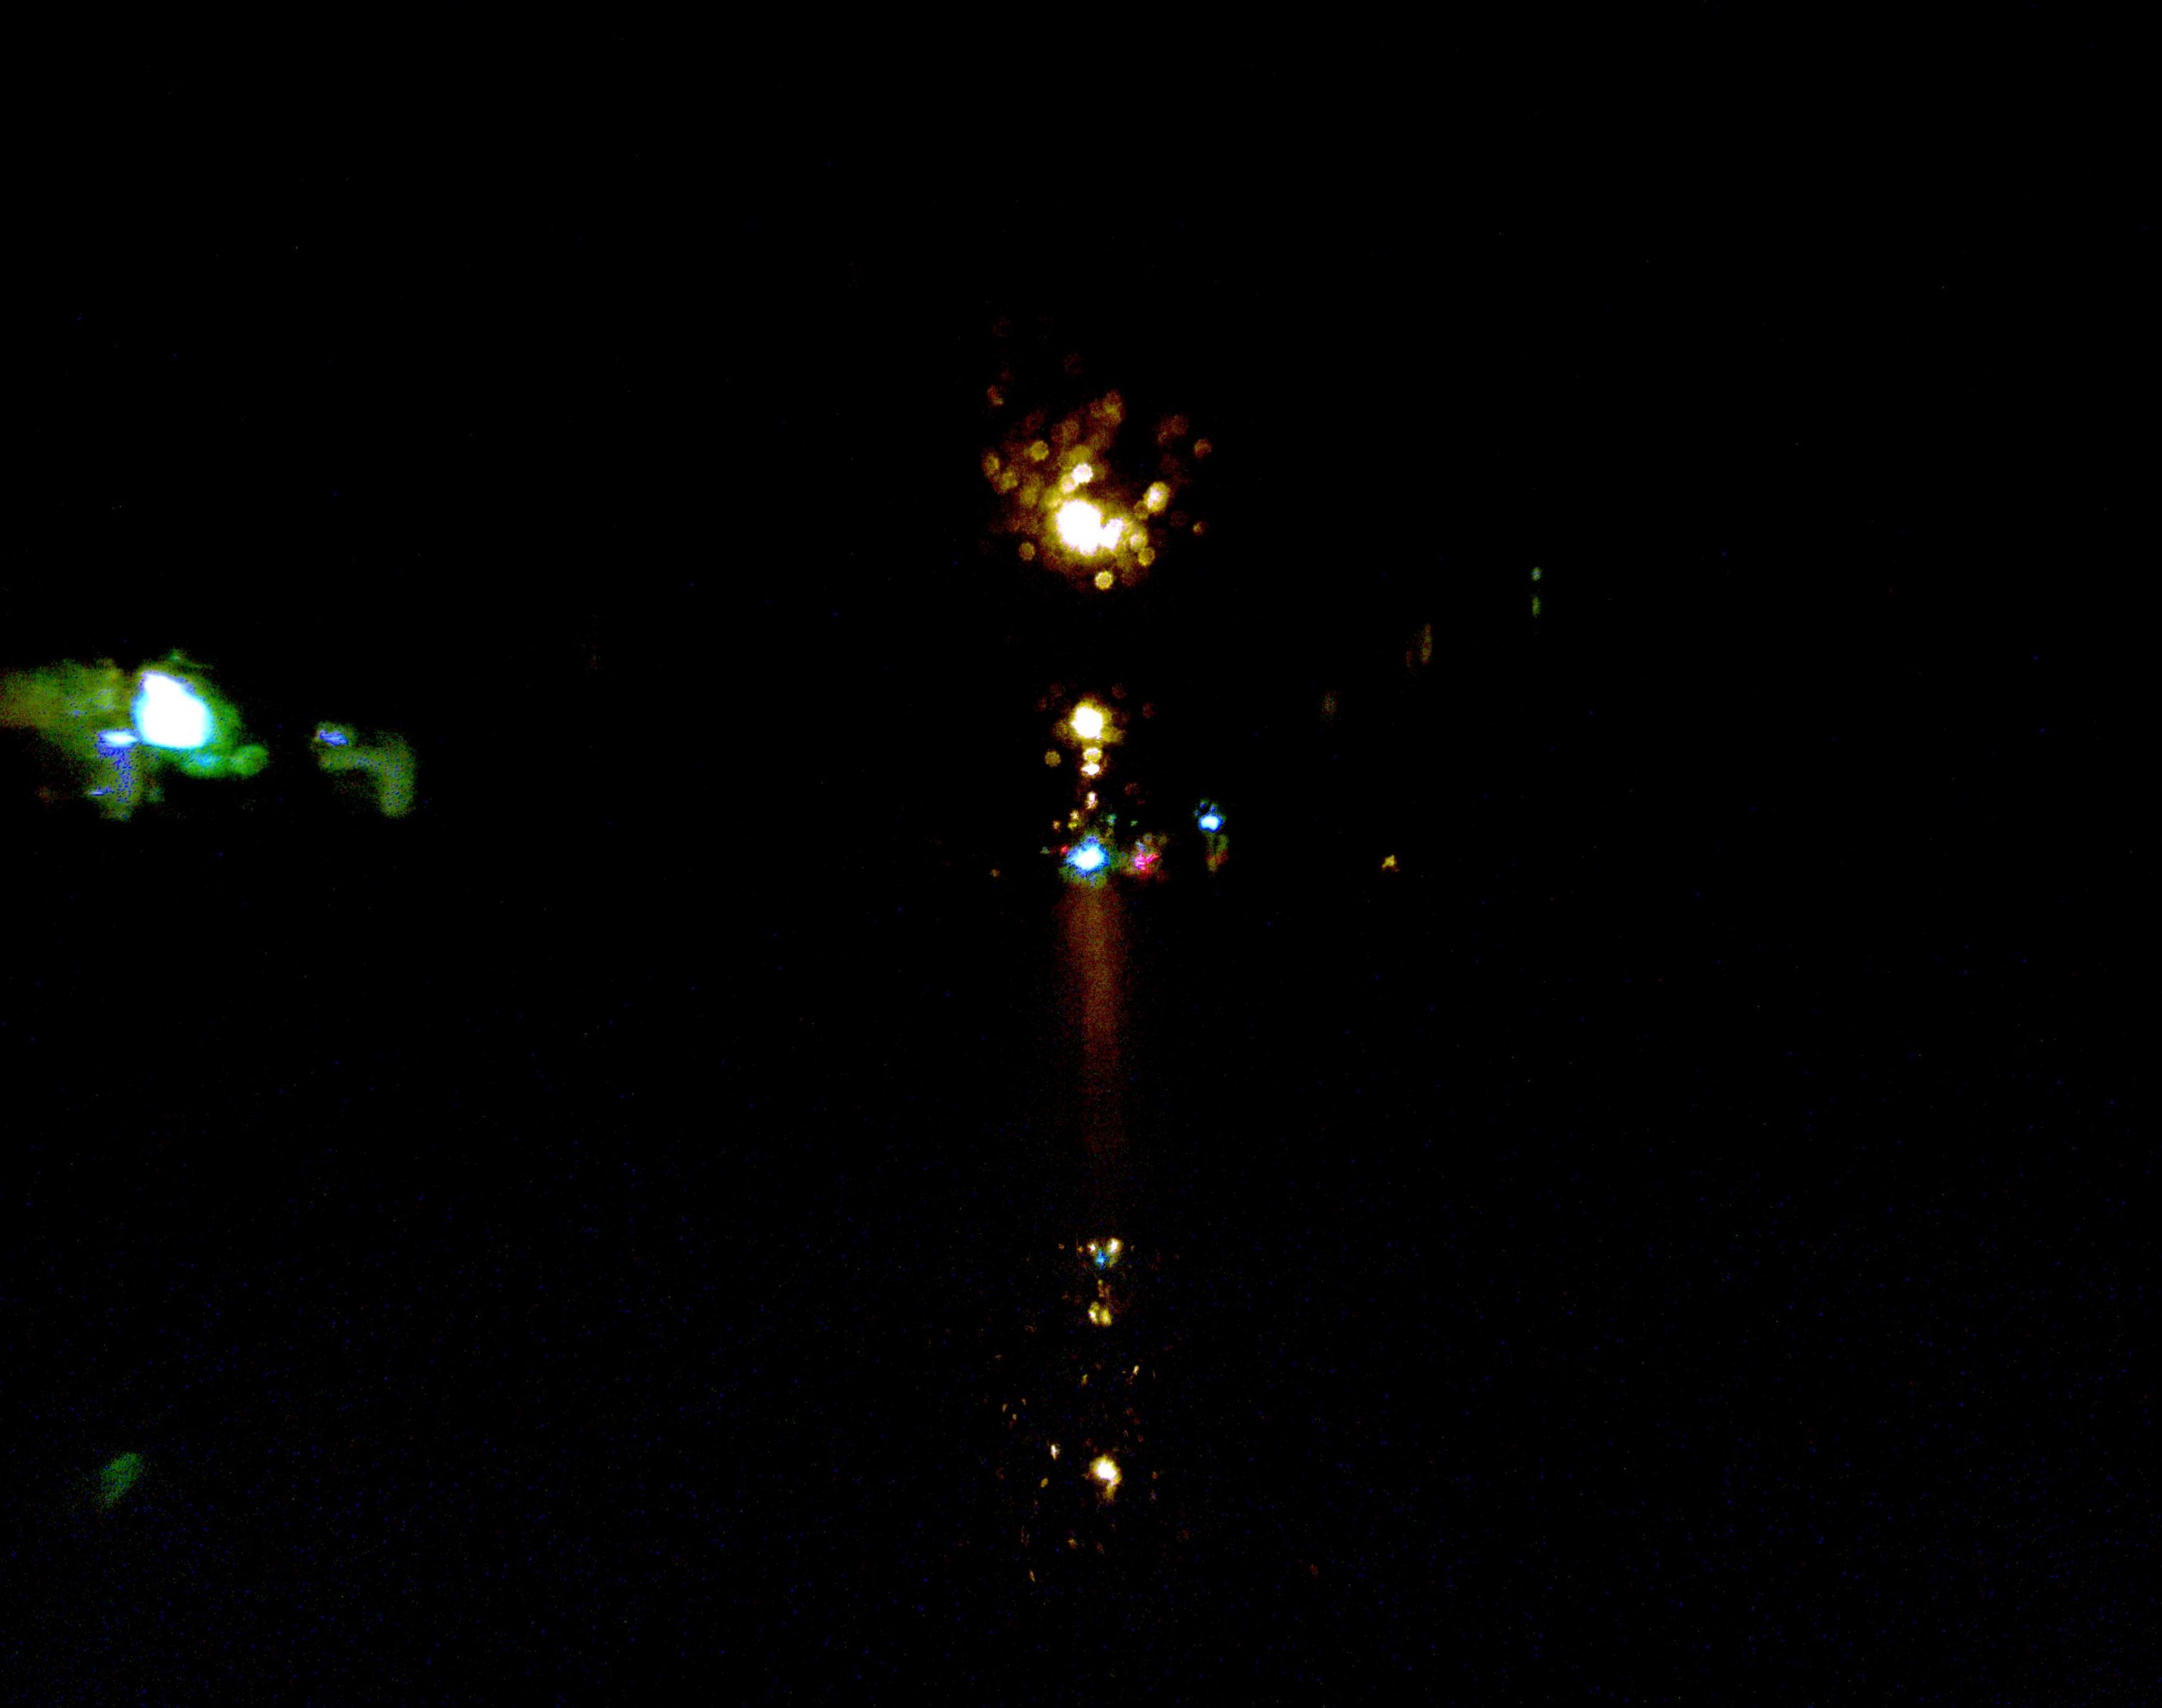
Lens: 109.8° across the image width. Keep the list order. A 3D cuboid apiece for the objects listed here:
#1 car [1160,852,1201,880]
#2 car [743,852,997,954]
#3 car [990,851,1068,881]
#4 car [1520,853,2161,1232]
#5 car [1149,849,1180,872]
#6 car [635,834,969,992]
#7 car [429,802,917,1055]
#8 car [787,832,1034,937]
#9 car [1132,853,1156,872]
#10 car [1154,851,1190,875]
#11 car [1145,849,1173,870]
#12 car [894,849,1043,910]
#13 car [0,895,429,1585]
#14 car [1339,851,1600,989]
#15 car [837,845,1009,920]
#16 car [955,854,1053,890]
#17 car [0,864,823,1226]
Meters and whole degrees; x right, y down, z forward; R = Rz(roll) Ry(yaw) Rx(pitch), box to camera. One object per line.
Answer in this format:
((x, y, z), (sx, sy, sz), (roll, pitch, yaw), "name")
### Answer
((5.664, 0.676, 43.527), (1.851, 1.470, 3.735), (-2, 0, 1), "car")
((-3.666, 0.796, 13.398), (3.941, 1.541, 1.739), (2, 0, -33), "car")
((-2.890, 0.645, 42.296), (3.939, 1.553, 1.707), (2, 0, -22), "car")
((5.047, 0.742, 5.072), (1.721, 1.470, 4.159), (-1, 0, -2), "car")
((5.999, 0.446, 55.153), (1.851, 1.571, 3.735), (-2, 0, 1), "car")
((-3.720, 0.697, 10.400), (3.942, 1.782, 1.738), (2, 0, -36), "car")
((-3.876, 0.602, 7.669), (3.942, 1.931, 1.738), (1, 0, -36), "car")
((-3.580, 0.611, 16.101), (4.719, 1.968, 1.975), (2, 0, -28), "car")
((5.647, 0.736, 67.968), (1.851, 1.571, 3.735), (-2, 0, 1), "car")
((5.854, 0.566, 49.224), (1.851, 1.470, 3.735), (-2, 0, 1), "car")
((6.263, 0.445, 61.313), (1.851, 1.571, 3.735), (-2, 0, 1), "car")
((-3.262, 0.728, 21.887), (3.938, 1.610, 1.707), (2, 0, -21), "car")
((-4.049, 0.870, 1.674), (3.712, 1.444, 1.654), (2, 0, -31), "car")
((4.892, 0.727, 10.222), (1.720, 1.470, 3.786), (-2, 0, 3), "car")
((-3.963, 0.693, 18.970), (3.938, 1.732, 1.707), (2, 0, -21), "car")
((-3.396, 0.773, 33.360), (3.939, 1.455, 1.707), (2, 0, -22), "car")
((-3.844, 0.806, 4.532), (4.064, 1.444, 1.674), (0, 0, -34), "car")
